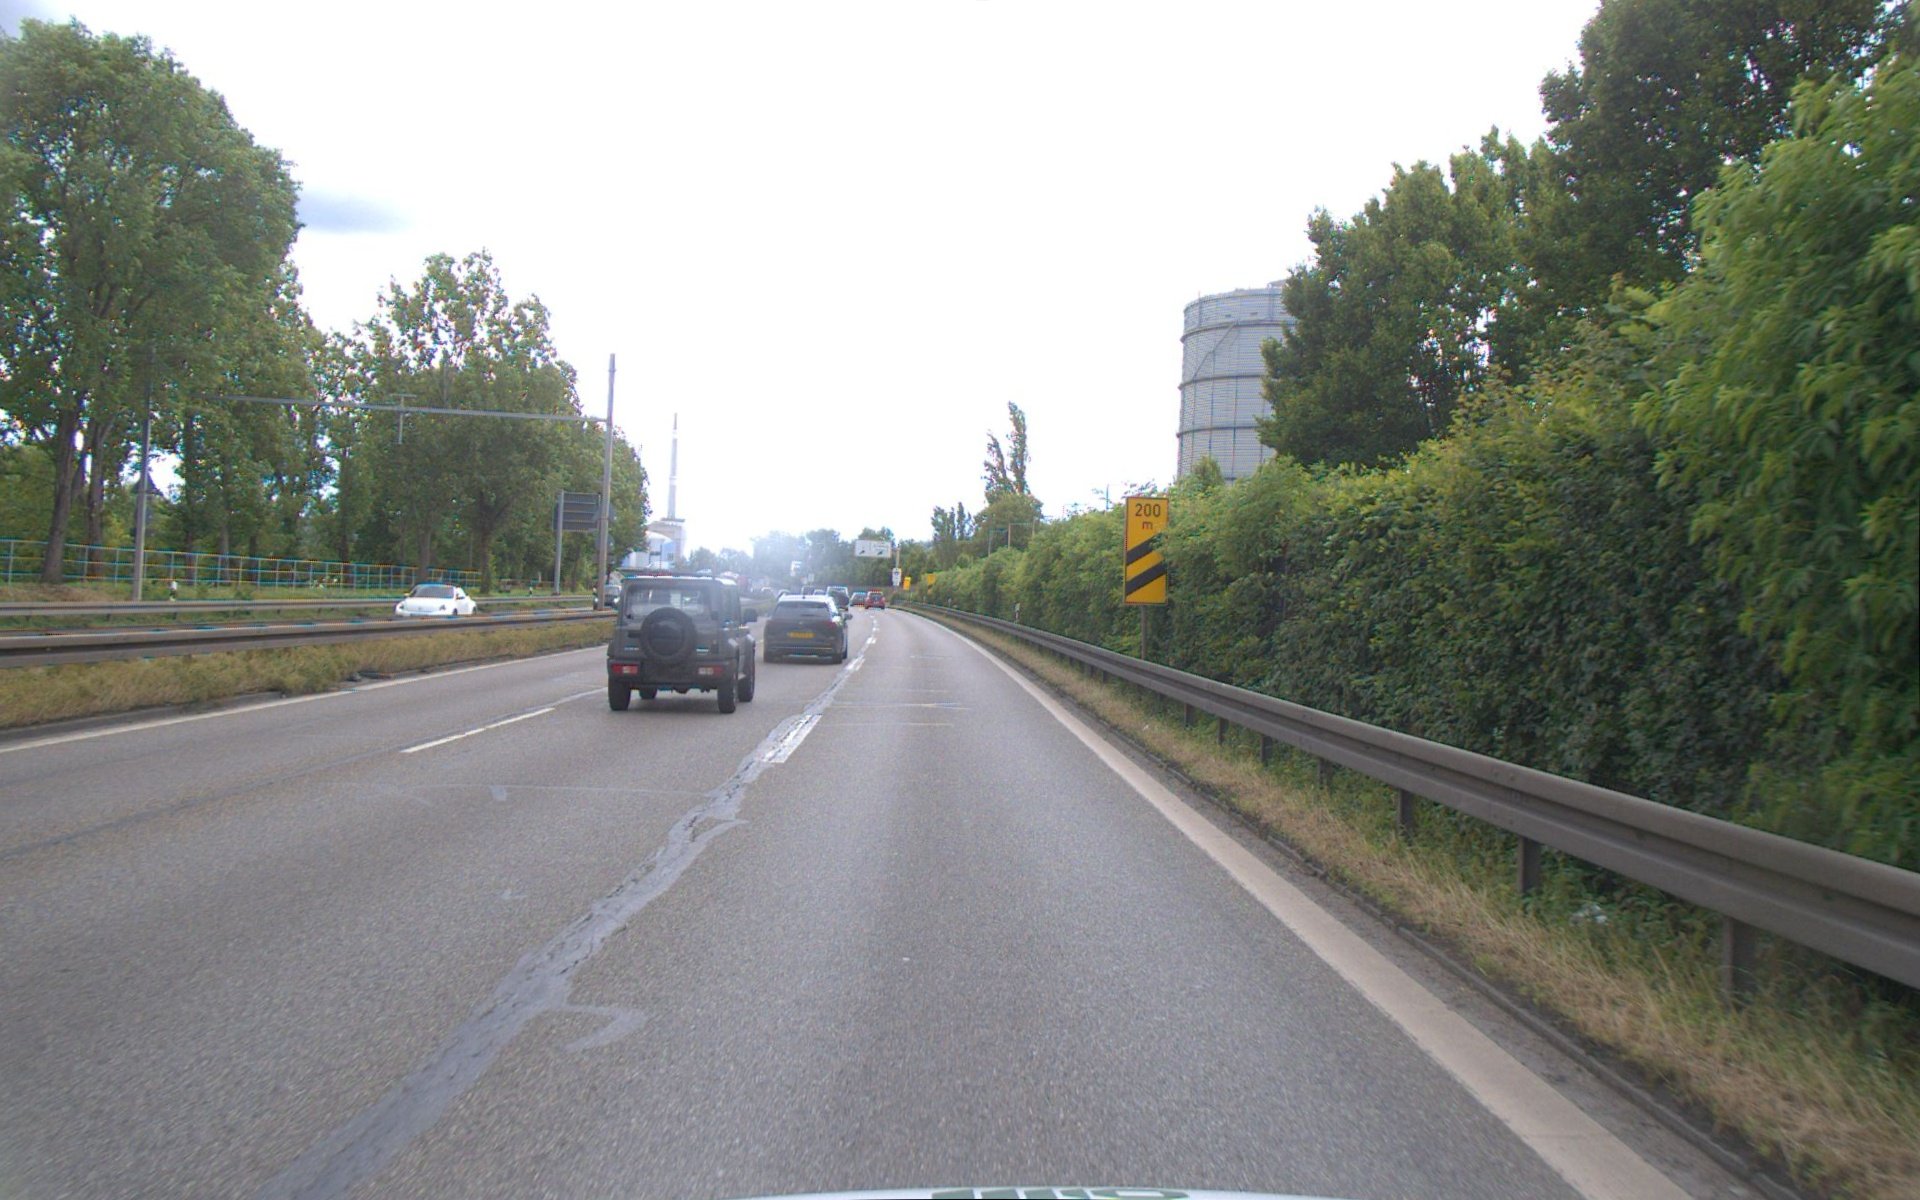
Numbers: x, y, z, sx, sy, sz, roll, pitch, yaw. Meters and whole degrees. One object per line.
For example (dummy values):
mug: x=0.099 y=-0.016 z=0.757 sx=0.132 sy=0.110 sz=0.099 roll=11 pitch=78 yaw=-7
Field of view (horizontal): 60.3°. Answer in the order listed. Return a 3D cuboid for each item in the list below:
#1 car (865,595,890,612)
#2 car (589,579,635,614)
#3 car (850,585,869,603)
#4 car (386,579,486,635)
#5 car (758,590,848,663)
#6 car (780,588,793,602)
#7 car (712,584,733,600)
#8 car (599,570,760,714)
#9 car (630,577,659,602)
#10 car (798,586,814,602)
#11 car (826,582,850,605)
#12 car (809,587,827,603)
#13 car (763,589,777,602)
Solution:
car: x=-7.331 y=0.312 z=146.742 sx=1.936 sy=1.448 sz=4.894 roll=2 pitch=0 yaw=-6
car: x=-18.886 y=-0.187 z=89.929 sx=1.691 sy=1.806 sz=3.741 roll=2 pitch=0 yaw=-1
car: x=-10.464 y=-0.660 z=171.770 sx=1.665 sy=1.772 sz=4.387 roll=1 pitch=0 yaw=-7
car: x=-16.918 y=0.201 z=53.656 sx=1.829 sy=1.704 sz=4.717 roll=1 pitch=0 yaw=-2
car: x=-3.477 y=0.545 z=37.109 sx=1.809 sy=1.448 sz=4.896 roll=3 pitch=0 yaw=-5
car: x=-22.487 y=-0.690 z=214.320 sx=1.665 sy=1.772 sz=4.387 roll=1 pitch=0 yaw=-6
car: x=-22.759 y=-0.728 z=158.447 sx=1.627 sy=1.449 sz=3.909 roll=2 pitch=0 yaw=-3
car: x=-3.667 y=0.503 z=22.216 sx=1.664 sy=1.715 sz=3.997 roll=2 pitch=0 yaw=-4
car: x=-24.870 y=-0.837 z=130.654 sx=1.578 sy=1.916 sz=4.559 roll=2 pitch=0 yaw=-3
car: x=-20.589 y=-0.816 z=220.994 sx=1.975 sy=1.968 sz=4.892 roll=2 pitch=0 yaw=-8
car: x=-9.534 y=-0.519 z=129.357 sx=1.663 sy=1.772 sz=3.999 roll=2 pitch=0 yaw=-2
car: x=-17.414 y=-0.625 z=202.632 sx=1.975 sy=1.968 sz=4.893 roll=2 pitch=0 yaw=-7
car: x=-29.287 y=-0.736 z=254.681 sx=1.976 sy=1.968 sz=4.890 roll=2 pitch=0 yaw=-9
